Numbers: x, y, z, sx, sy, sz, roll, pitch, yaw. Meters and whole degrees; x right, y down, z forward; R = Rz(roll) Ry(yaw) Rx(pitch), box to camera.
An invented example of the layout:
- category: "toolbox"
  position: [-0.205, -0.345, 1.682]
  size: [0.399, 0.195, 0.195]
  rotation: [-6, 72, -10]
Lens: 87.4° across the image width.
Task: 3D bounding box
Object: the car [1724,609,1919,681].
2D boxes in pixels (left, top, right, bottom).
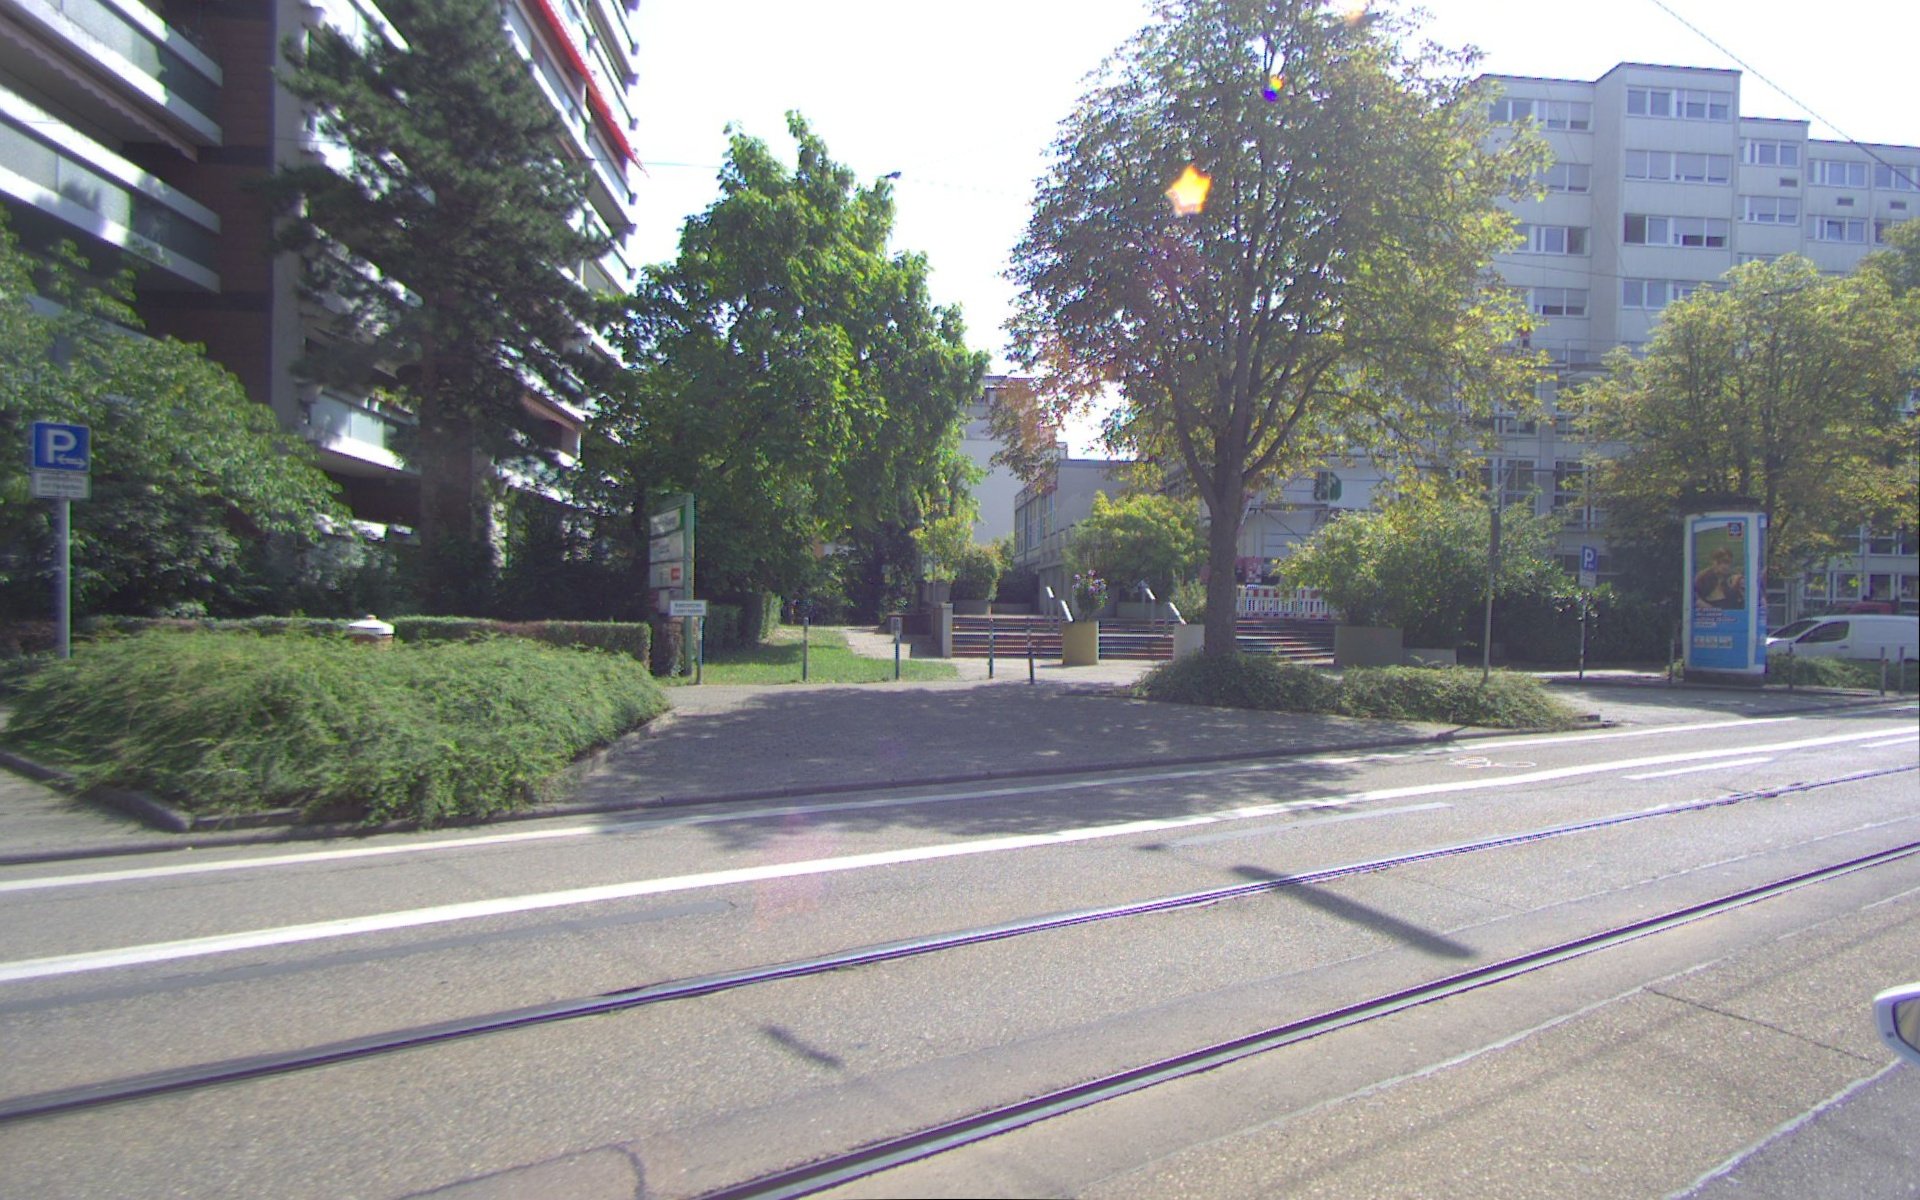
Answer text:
- category: "car"
  position: [23.428, 1.174, 26.994]
  size: [4.199, 1.795, 1.826]
  rotation: [0, 0, 16]

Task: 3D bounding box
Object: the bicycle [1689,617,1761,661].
- category: "bicycle"
  position: [29.165, 1.462, 38.347]
  size: [0.591, 1.546, 2.341]
  rotation: [2, 1, -11]

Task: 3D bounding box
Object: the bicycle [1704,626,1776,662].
- category: "bicycle"
  position: [29.838, 1.666, 38.492]
  size: [0.591, 1.185, 2.341]
  rotation: [2, 1, -11]

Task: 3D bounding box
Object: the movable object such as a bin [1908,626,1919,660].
- category: "movable object such as a bin"
  position: [44.967, 1.993, 46.254]
  size: [1.339, 1.580, 1.673]
  rotation: [1, -1, -32]

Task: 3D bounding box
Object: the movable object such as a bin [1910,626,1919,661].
- category: "movable object such as a bin"
  position: [43.989, 1.964, 45.119]
  size: [1.339, 1.580, 1.673]
  rotation: [1, -1, -32]

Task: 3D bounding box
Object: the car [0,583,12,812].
- category: "car"
  position: [-8.576, 0.618, 7.126]
  size: [4.223, 1.517, 1.776]
  rotation: [1, 0, 33]

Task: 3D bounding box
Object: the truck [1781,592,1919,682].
- category: "truck"
  position: [27.349, 1.054, 28.521]
  size: [5.852, 2.467, 2.151]
  rotation: [0, -1, 20]
